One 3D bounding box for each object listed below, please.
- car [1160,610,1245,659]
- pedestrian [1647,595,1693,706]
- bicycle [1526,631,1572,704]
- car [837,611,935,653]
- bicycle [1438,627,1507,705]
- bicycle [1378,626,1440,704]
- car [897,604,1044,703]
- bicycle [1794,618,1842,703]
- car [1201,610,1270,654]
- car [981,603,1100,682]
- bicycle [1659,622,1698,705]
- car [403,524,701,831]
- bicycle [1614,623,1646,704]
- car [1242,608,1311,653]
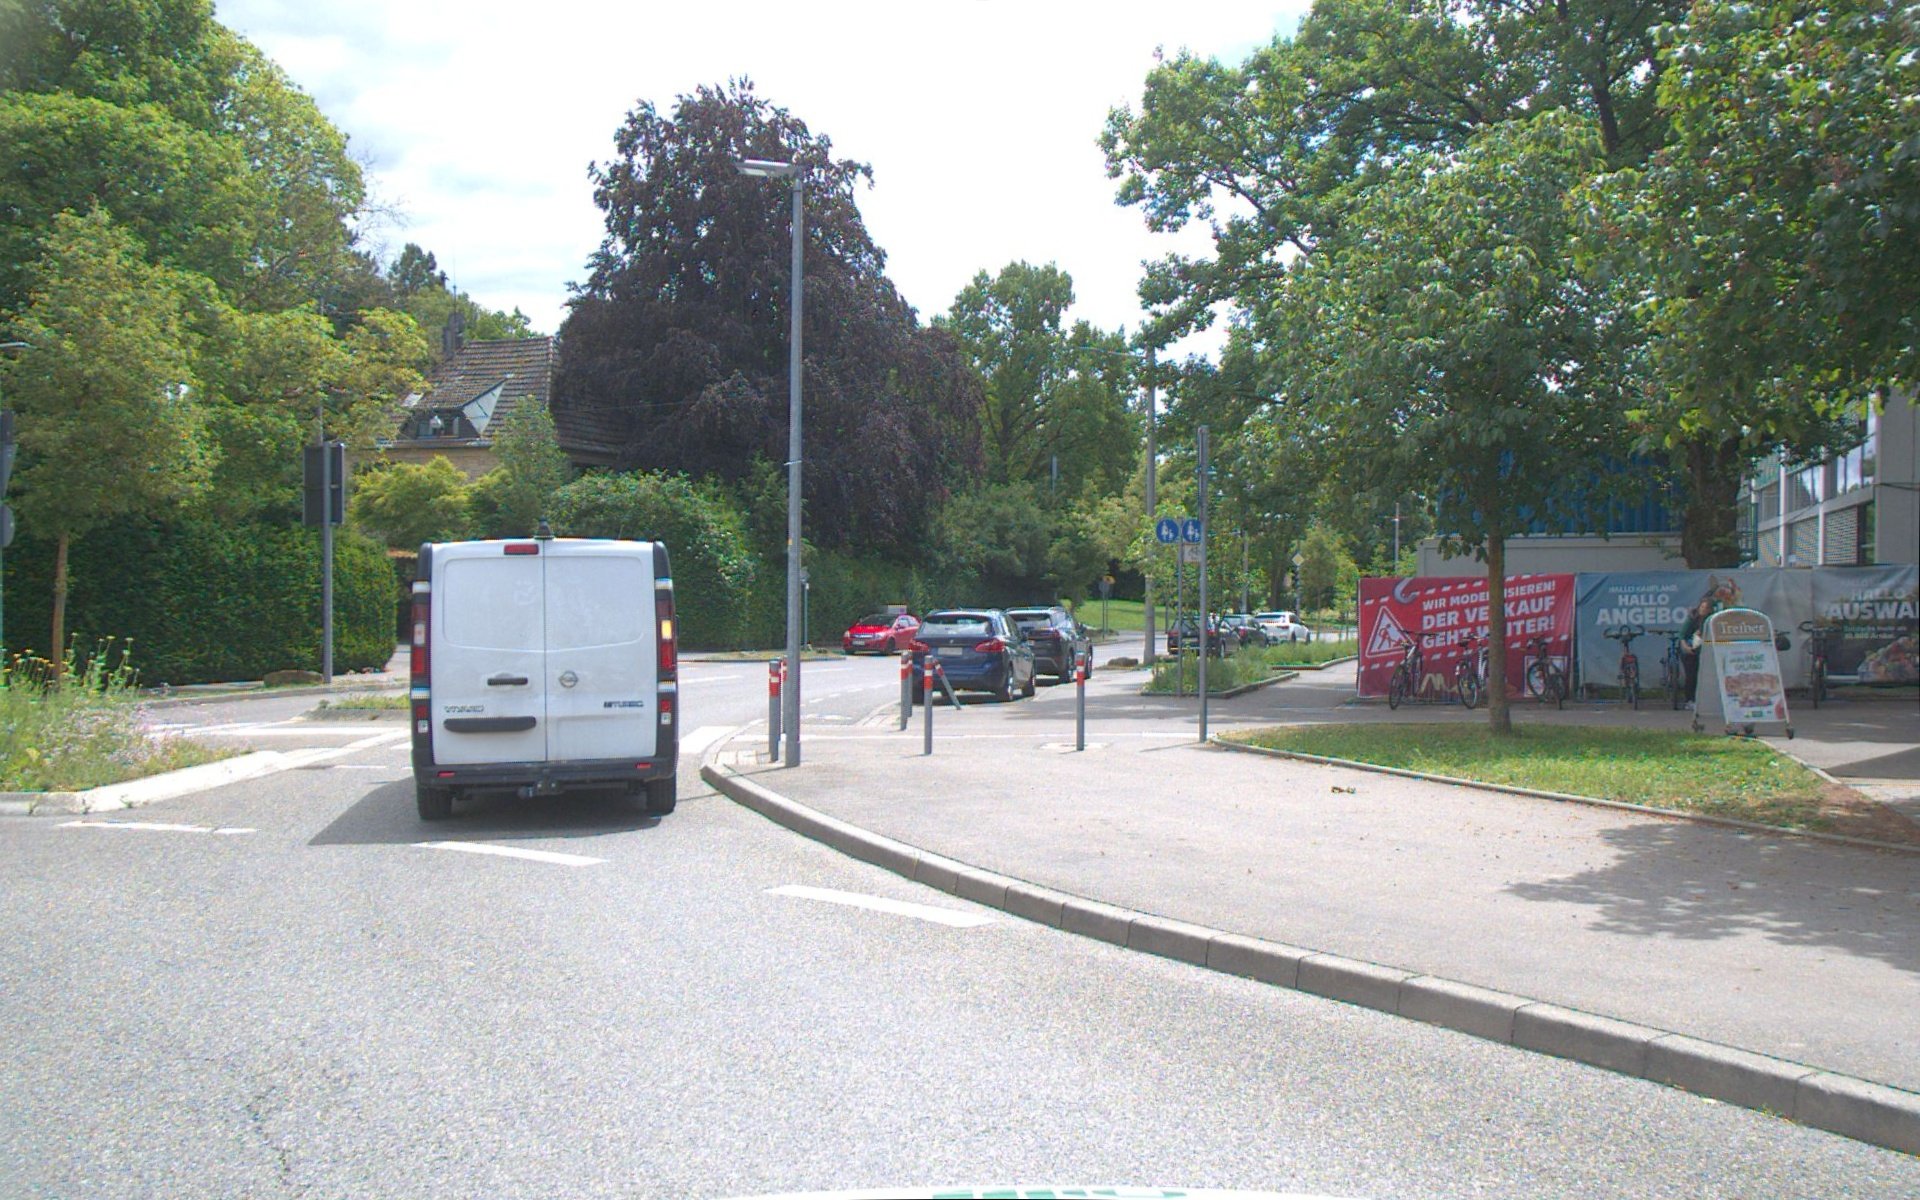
[{"bbox_3d":[8.092,1.119,54.760,1.728,1.503,4.936,-3,-2,21],"label":"car"},{"bbox_3d":[10.356,0.729,24.128,0.612,1.594,0.495,0,-1,23],"label":"pedestrian"},{"bbox_3d":[8.992,1.018,25.295,0.508,1.059,1.802,0,-1,15],"label":"bicycle"},{"bbox_3d":[-2.572,1.107,58.341,1.627,1.402,4.564,2,0,23],"label":"car"},{"bbox_3d":[8.013,1.007,25.811,0.491,1.175,1.766,1,-1,36],"label":"bicycle"},{"bbox_3d":[7.065,0.998,26.000,0.442,1.175,1.786,1,0,32],"label":"bicycle"},{"bbox_3d":[0.279,0.903,29.449,1.875,1.606,4.433,-1,-1,10],"label":"car"},{"bbox_3d":[12.424,0.858,23.982,0.518,1.175,1.912,1,0,25],"label":"bicycle"},{"bbox_3d":[9.931,1.135,59.439,1.536,1.519,3.998,-1,-1,23],"label":"car"},{"bbox_3d":[1.892,0.918,37.399,1.838,1.650,4.850,-1,-1,13],"label":"car"},{"bbox_3d":[10.654,0.919,24.548,0.429,1.175,1.767,1,0,20],"label":"bicycle"},{"bbox_3d":[-3.303,0.546,13.334,1.906,1.995,4.813,1,-1,-15],"label":"car"},{"bbox_3d":[10.049,0.931,24.823,0.416,1.175,1.661,1,0,22],"label":"bicycle"},{"bbox_3d":[12.369,1.196,64.508,1.702,1.645,4.385,-2,-2,23],"label":"car"}]
